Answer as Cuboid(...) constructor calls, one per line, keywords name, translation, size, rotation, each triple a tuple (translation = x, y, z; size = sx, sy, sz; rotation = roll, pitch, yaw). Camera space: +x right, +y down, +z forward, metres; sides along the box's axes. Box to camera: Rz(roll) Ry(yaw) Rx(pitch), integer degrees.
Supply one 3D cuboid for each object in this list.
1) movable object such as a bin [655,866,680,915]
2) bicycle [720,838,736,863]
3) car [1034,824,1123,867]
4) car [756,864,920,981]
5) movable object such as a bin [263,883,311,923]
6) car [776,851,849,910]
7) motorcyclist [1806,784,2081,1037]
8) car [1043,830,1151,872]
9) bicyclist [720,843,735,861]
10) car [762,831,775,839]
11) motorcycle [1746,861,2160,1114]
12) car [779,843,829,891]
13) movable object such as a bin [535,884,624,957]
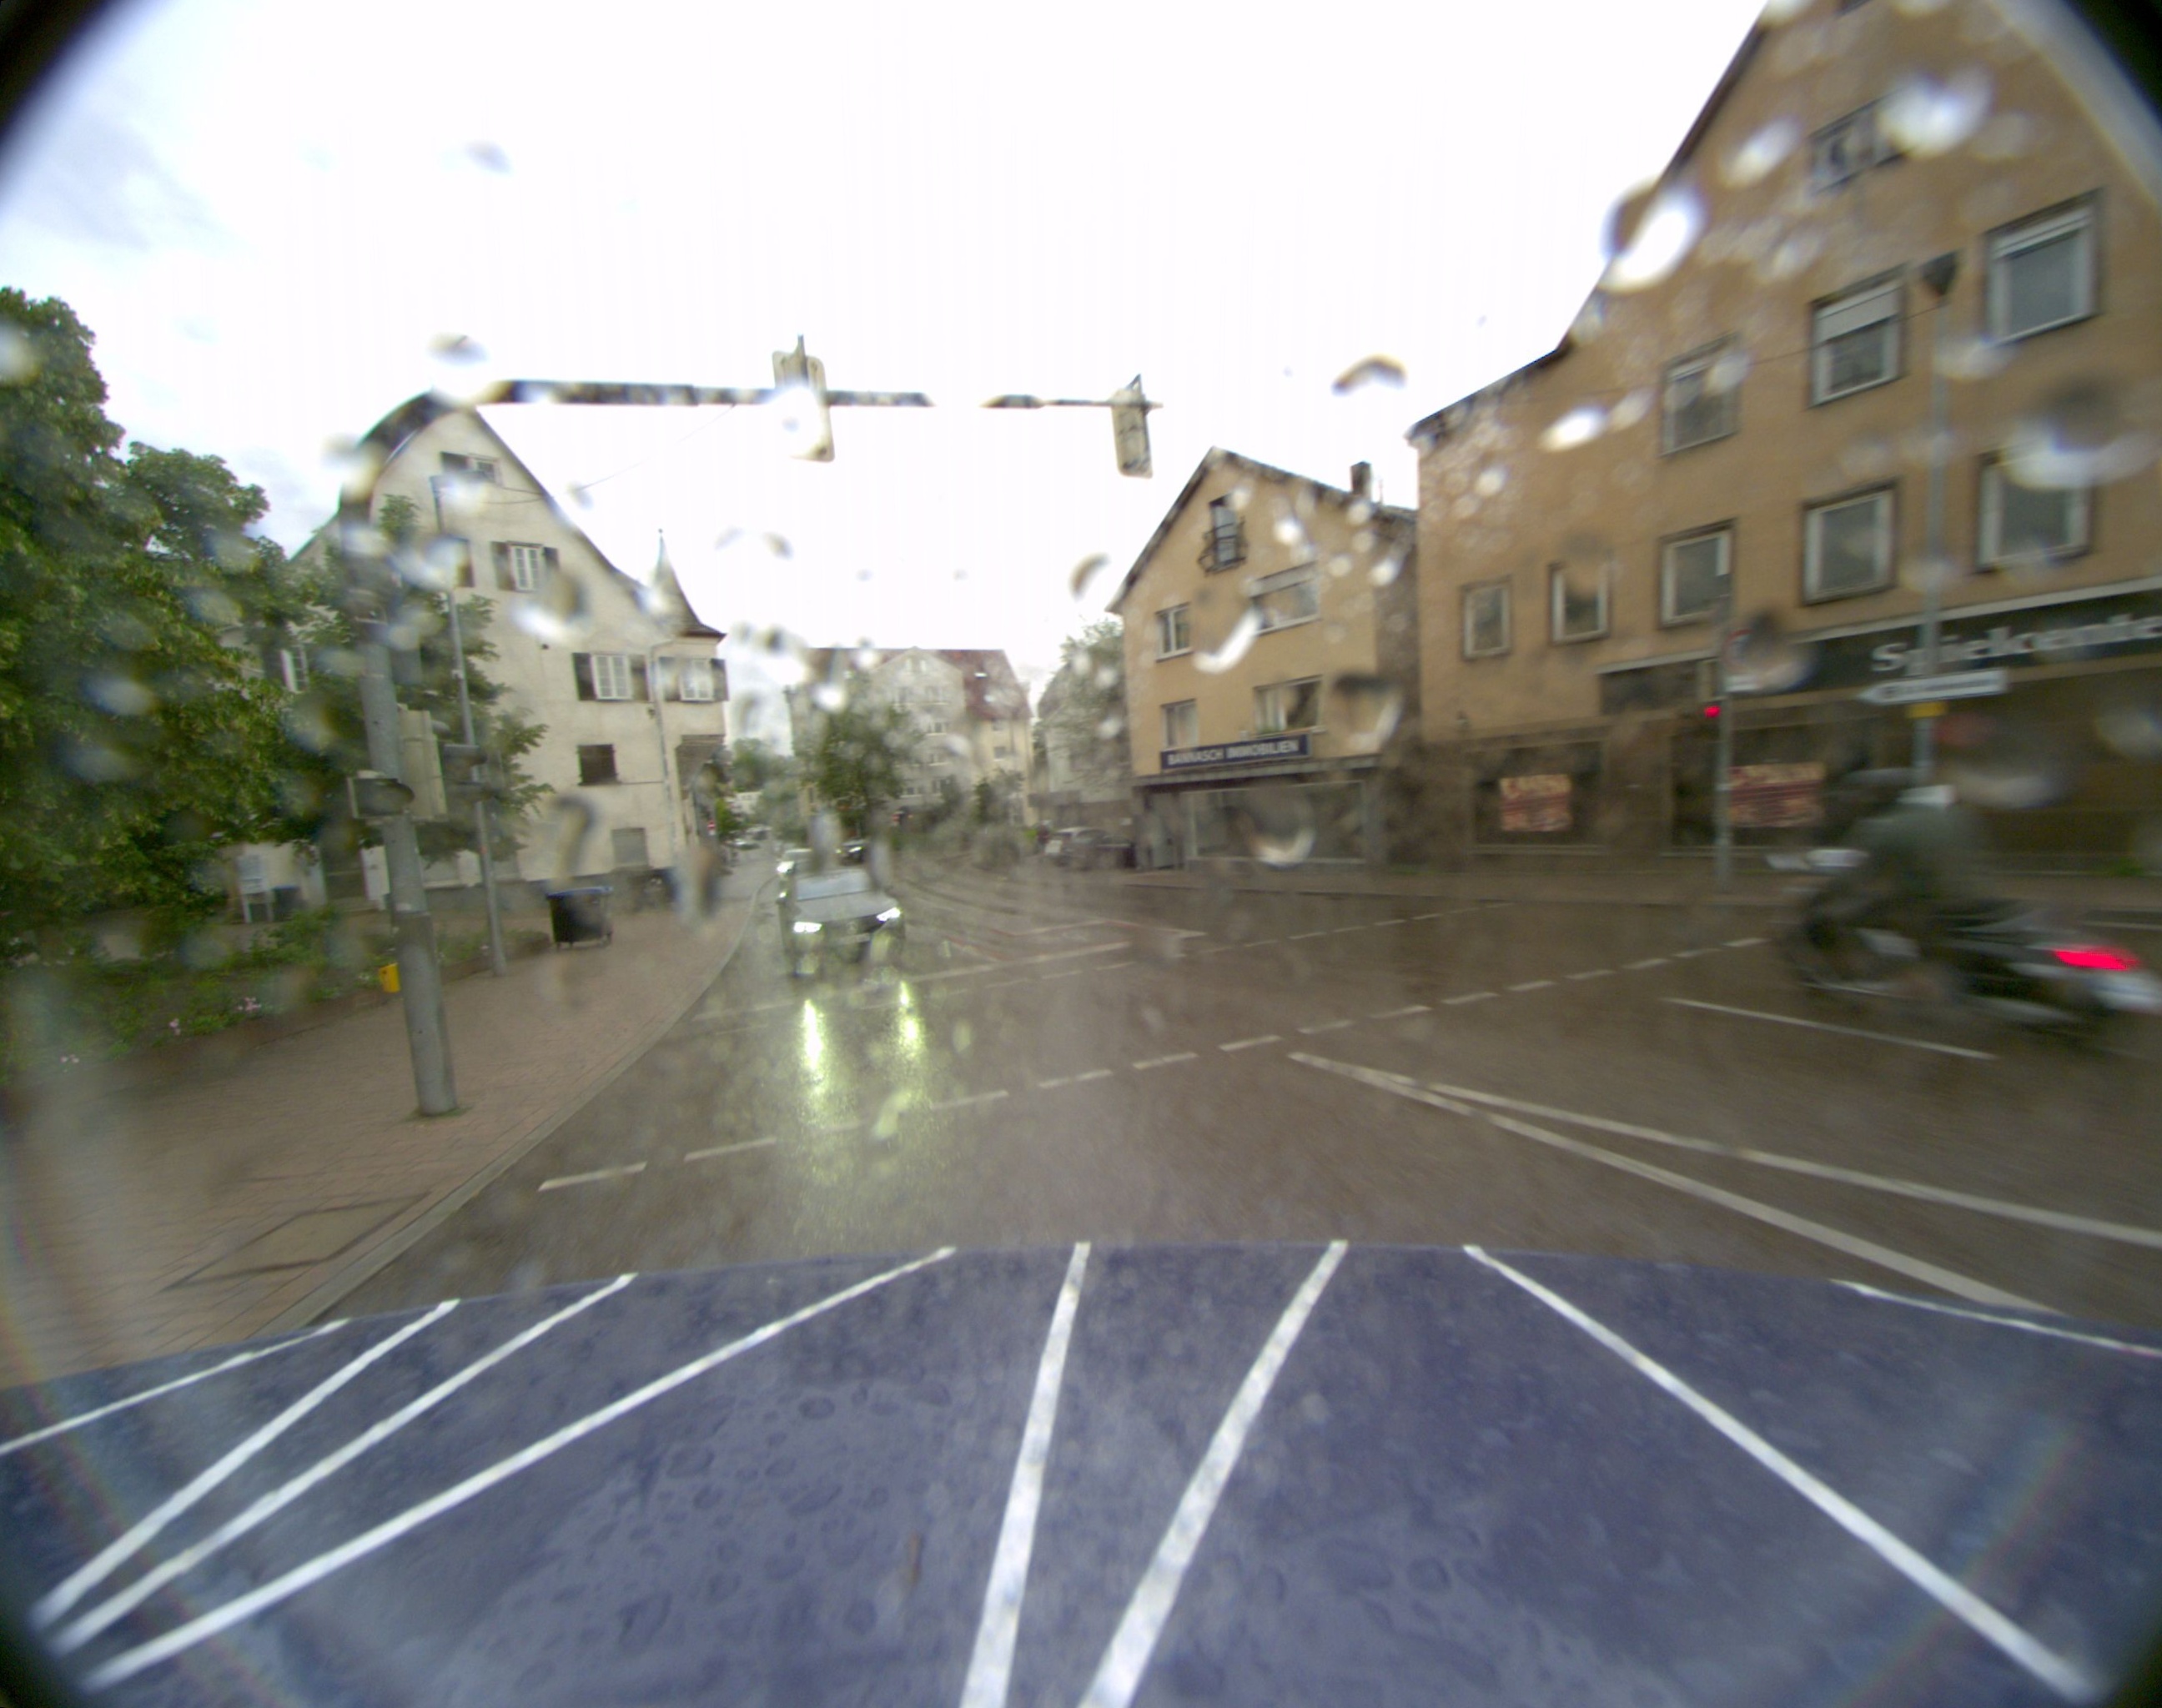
Cuboid(name="movable object such as a bin", translation=(-12.804, 1.118, 23.530), size=(0.642, 1.435, 0.414), rotation=(3, 7, 44))
Cuboid(name="bicycle", translation=(-35.198, -0.350, 75.750), size=(0.767, 2.072, 1.028), rotation=(25, -43, -35))
Cuboid(name="car", translation=(-0.065, -0.422, 34.445), size=(1.994, 1.620, 3.650), rotation=(0, 5, 41))
Cuboid(name="car", translation=(-4.596, 1.071, 13.886), size=(2.002, 1.485, 4.304), rotation=(-8, 4, -27))
Cuboid(name="movable object such as a bin", translation=(-20.807, 1.283, 19.920), size=(0.659, 0.917, 0.591), rotation=(-4, 8, -31))
Cuboid(name="car", translation=(-9.126, 0.834, 26.147), size=(1.775, 1.525, 4.370), rotation=(-5, 4, -13))
Cuboid(name="motorcyclist", translation=(4.981, 0.309, 4.453), size=(0.810, 1.347, 0.668), rotation=(-5, 3, 18))
Cuboid(name="car", translation=(0.685, -0.133, 31.021), size=(4.006, 1.445, 1.895), rotation=(-4, 2, -36))
Cuboid(name="bicyclist", translation=(-35.126, -0.224, 75.510), size=(0.688, 1.026, 1.508), rotation=(27, -45, -37))
Cuboid(name="car", translation=(-63.925, -3.853, 155.582), size=(2.001, 1.565, 3.993), rotation=(-5, 2, -18))
Cuboid(name="motorcycle", translation=(5.079, 0.669, 4.665), size=(0.769, 1.124, 1.918), rotation=(-3, 2, 18))
Cuboid(name="car", translation=(-12.702, 0.538, 35.038), size=(1.815, 1.558, 3.990), rotation=(-4, 8, -16))
Cuboid(name="movable object such as a bin", translation=(-10.733, 1.396, 16.322), size=(1.159, 1.306, 1.184), rotation=(-5, 4, -16))
